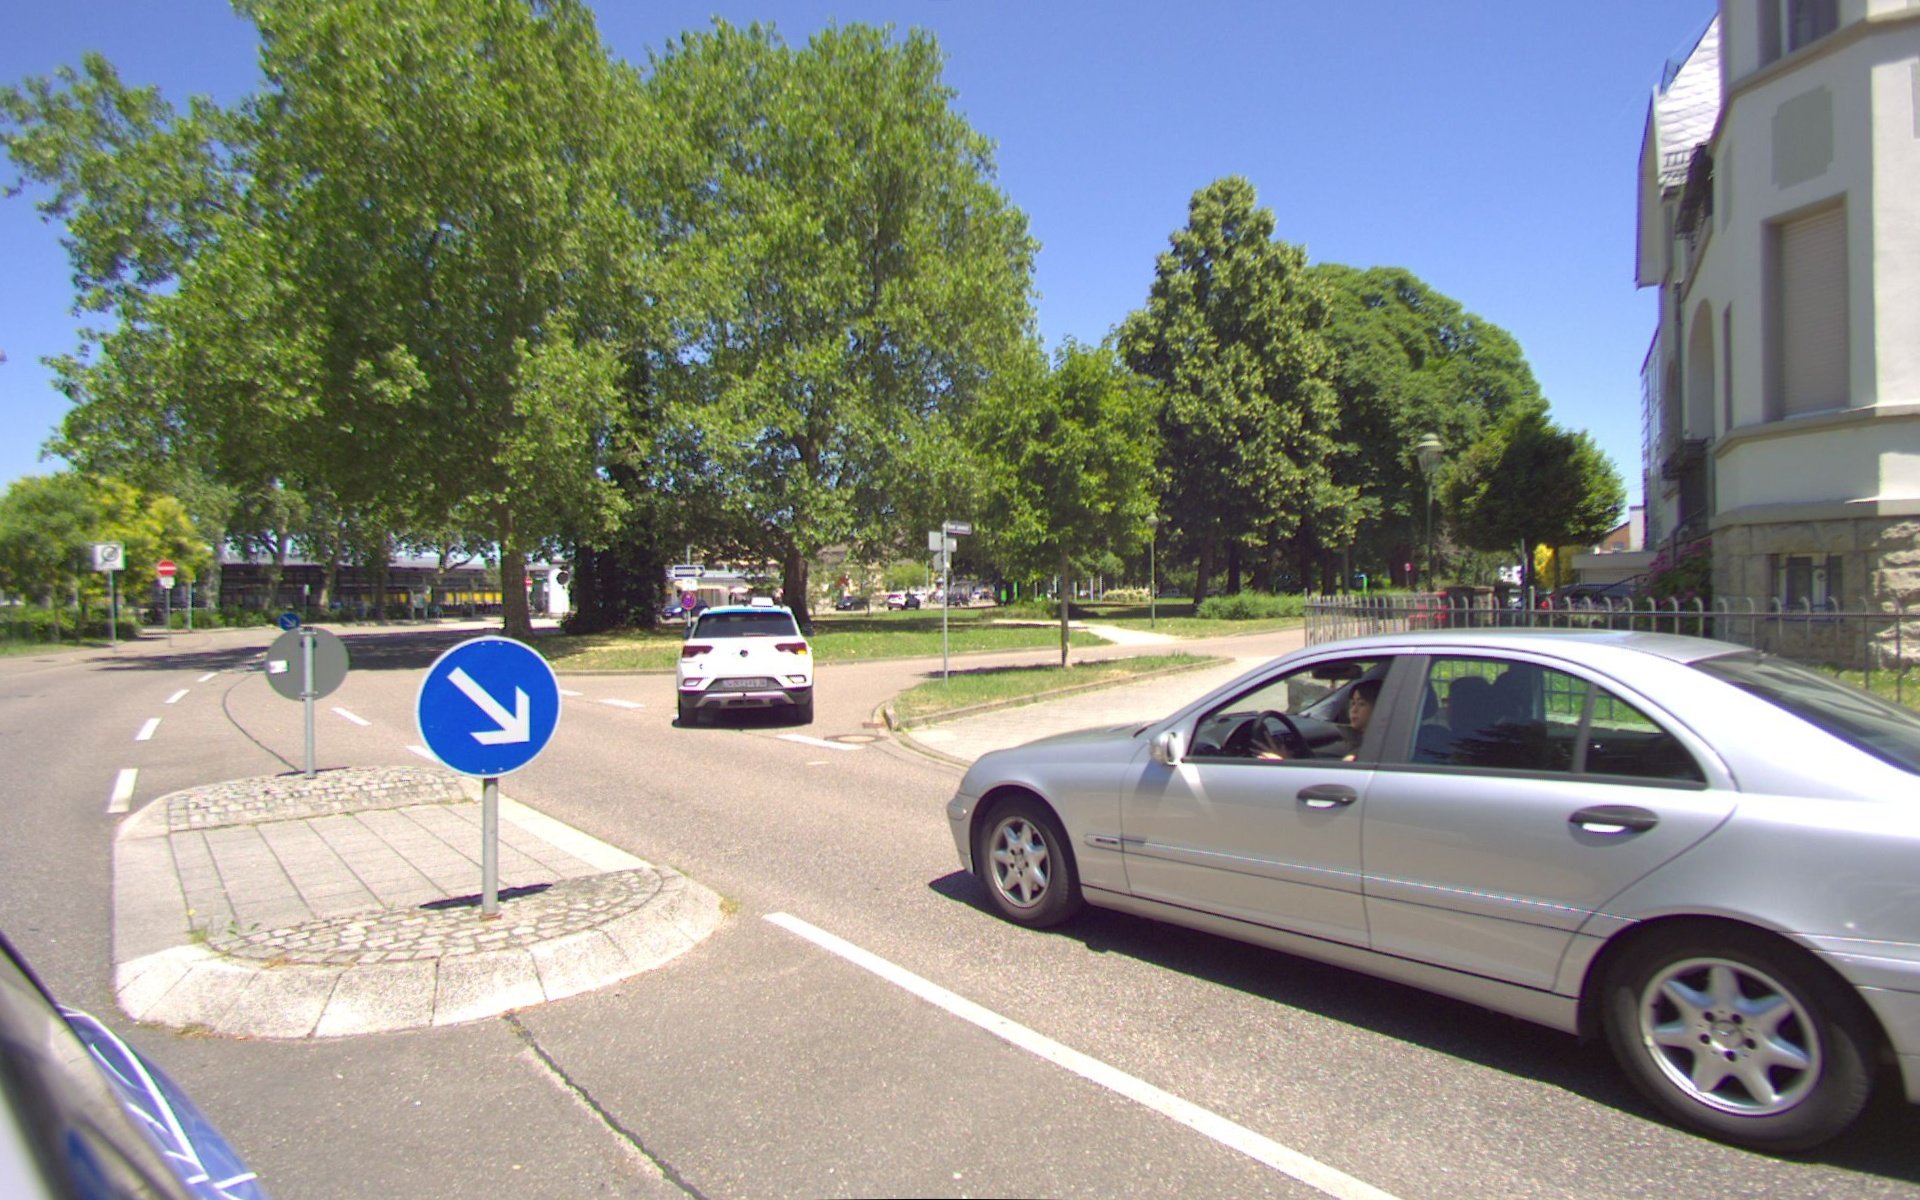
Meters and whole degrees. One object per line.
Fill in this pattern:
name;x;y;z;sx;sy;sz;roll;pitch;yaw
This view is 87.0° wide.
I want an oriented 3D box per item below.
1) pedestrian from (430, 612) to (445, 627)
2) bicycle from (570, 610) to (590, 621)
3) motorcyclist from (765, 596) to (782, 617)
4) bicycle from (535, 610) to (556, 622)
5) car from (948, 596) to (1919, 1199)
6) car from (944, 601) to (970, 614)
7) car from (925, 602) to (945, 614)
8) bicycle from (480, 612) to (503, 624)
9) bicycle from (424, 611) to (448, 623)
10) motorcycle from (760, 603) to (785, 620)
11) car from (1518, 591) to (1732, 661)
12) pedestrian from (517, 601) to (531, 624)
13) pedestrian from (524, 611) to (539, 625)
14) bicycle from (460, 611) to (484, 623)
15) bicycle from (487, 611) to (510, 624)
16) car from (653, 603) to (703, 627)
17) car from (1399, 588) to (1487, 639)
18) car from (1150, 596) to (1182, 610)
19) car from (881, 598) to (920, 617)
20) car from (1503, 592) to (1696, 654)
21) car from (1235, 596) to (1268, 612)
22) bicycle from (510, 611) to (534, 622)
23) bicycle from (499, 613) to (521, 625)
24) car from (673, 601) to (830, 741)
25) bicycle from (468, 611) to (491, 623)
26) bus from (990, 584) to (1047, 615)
pedestrian;-45.783;1.688;88.653;0.824;1.284;0.862;-1;0;19
bicycle;-40.756;1.708;108.583;2.159;1.081;0.664;1;4;27
motorcyclist;-13.833;0.476;75.060;0.805;1.567;1.095;-1;0;25
bicycle;-44.186;1.691;107.981;0.667;1.081;2.151;1;4;26
car;2.030;0.755;4.009;1.737;1.446;4.308;1;-2;-43
car;-0.261;0.801;108.965;1.633;1.428;3.976;0;-1;18
car;-4.406;1.406;179.177;1.987;2.029;3.969;-2;0;23
bicycle;-47.360;1.816;102.389;0.667;1.081;2.151;1;4;26
bicycle;-51.485;1.655;99.409;2.146;1.081;0.668;0;3;10
motorcycle;-13.883;0.848;74.912;0.805;1.241;2.034;-1;0;24
car;15.406;0.587;23.509;3.994;1.437;1.975;-2;1;38
pedestrian;-33.745;0.967;78.301;0.899;1.749;0.678;-1;0;-29
pedestrian;-41.771;1.759;98.660;0.957;1.315;0.824;-1;0;24
bicycle;-49.956;1.722;103.614;0.667;1.081;2.151;1;4;26
bicycle;-46.452;1.740;101.907;0.667;1.081;2.151;1;4;26
car;-19.717;1.022;71.021;1.760;1.556;4.169;0;0;10
car;16.538;0.434;34.536;1.995;1.630;4.453;-2;0;35
car;28.520;0.421;140.110;3.978;1.817;1.983;-2;0;26
car;-5.597;0.697;96.028;2.035;1.760;4.291;0;-1;22
car;16.453;0.592;26.138;3.997;1.445;1.856;-2;1;40
car;38.937;0.478;135.138;3.974;2.029;1.985;-2;0;23
bicycle;-45.951;1.777;106.291;2.143;1.081;0.862;-1;3;6
bicycle;-44.145;1.865;99.268;2.154;1.081;0.666;0;3;21
car;-3.054;0.878;14.548;1.847;1.635;4.315;-2;0;-13
bicycle;-48.901;1.696;103.060;0.667;1.081;2.151;1;4;26
bus;6.782;-0.090;114.462;2.797;3.327;11.770;-2;0;22
